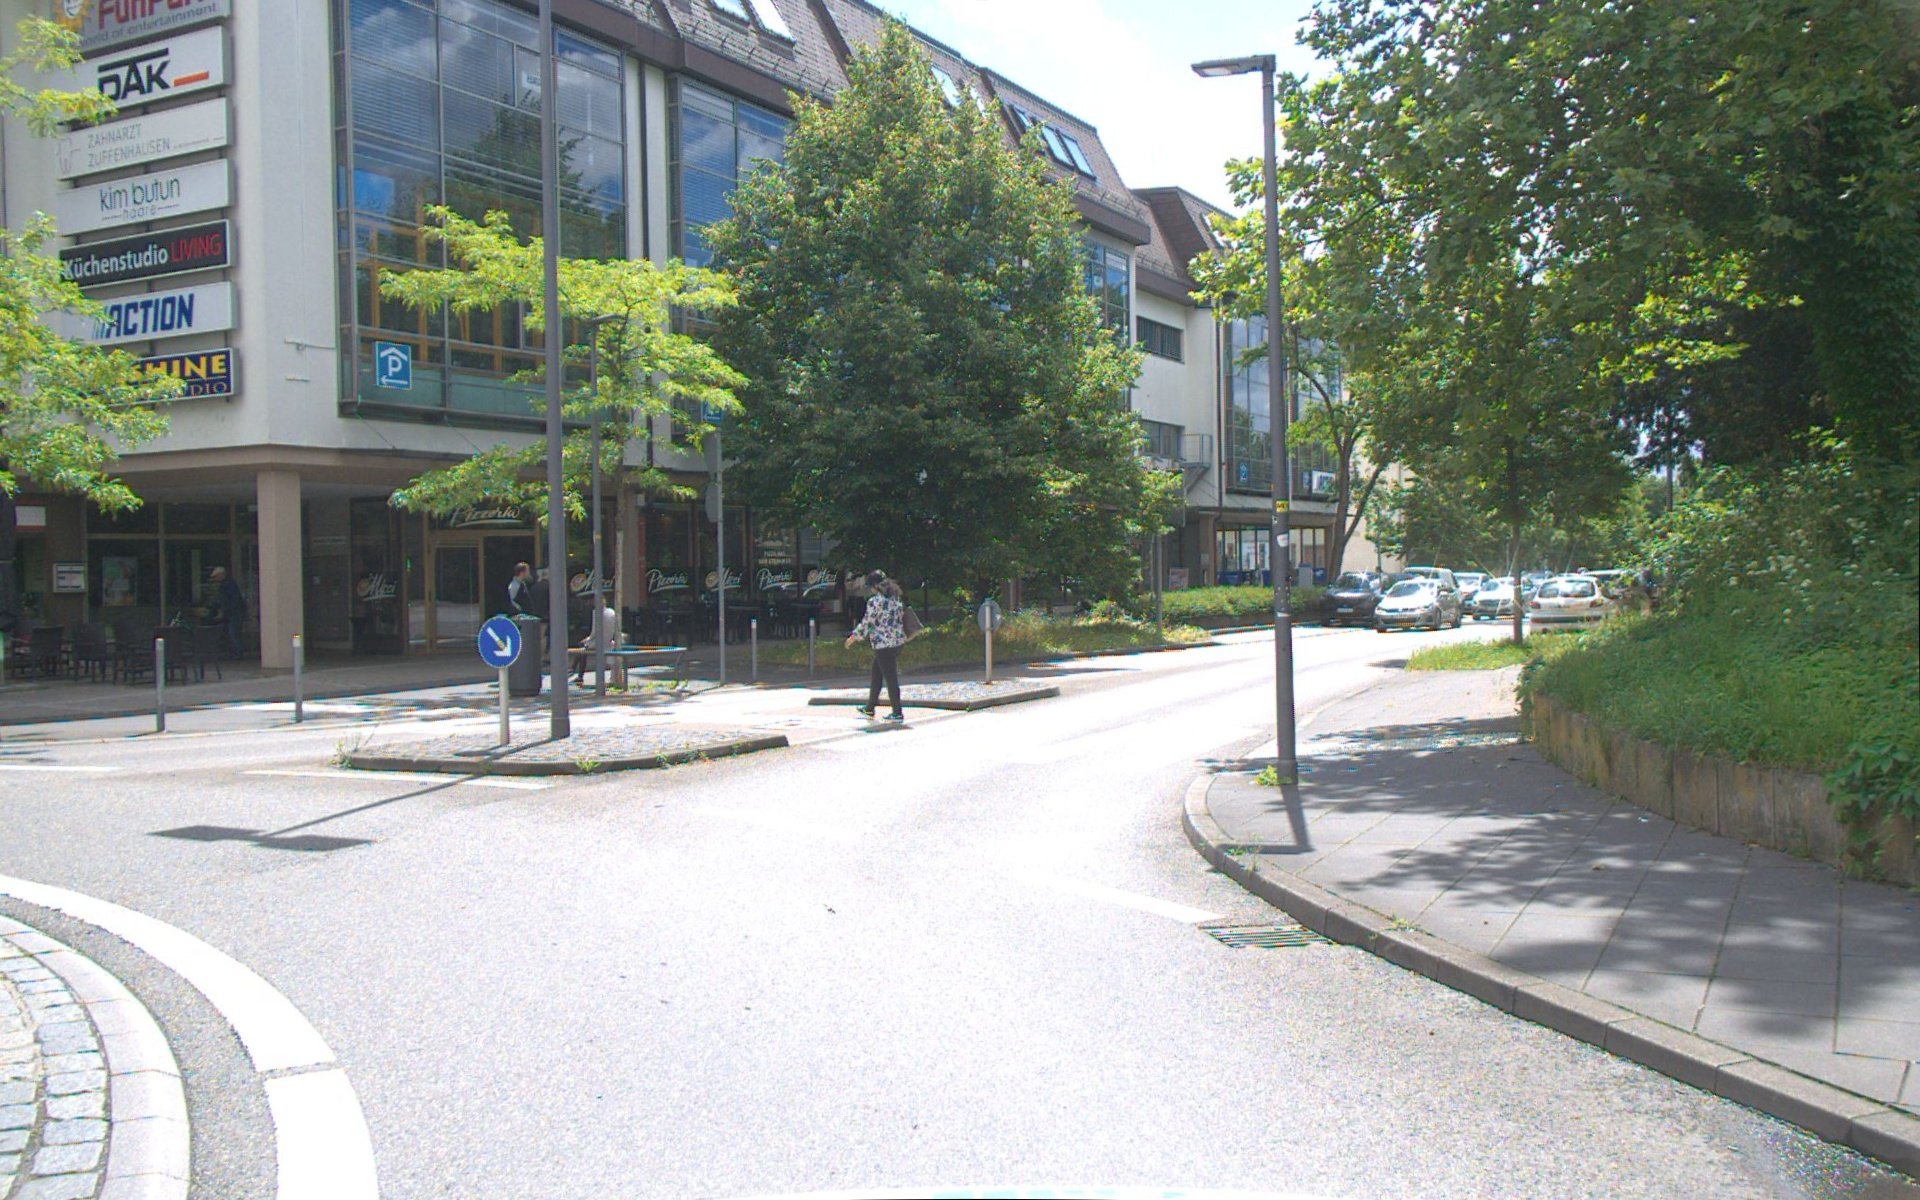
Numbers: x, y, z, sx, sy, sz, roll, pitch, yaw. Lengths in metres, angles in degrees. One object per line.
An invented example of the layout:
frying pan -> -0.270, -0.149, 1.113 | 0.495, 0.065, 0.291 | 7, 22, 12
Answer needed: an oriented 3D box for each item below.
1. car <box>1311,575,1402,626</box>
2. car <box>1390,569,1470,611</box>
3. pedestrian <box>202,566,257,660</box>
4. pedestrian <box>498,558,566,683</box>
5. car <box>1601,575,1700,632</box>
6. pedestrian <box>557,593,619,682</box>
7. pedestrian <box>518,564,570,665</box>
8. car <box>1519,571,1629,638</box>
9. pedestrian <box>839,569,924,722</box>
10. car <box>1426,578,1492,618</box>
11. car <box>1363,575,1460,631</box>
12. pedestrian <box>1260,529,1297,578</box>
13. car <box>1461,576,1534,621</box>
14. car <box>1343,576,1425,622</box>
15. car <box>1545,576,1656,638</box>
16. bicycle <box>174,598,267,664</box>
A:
car -> 12.713, -0.018, 52.780 | 1.954, 1.534, 4.582 | 1, 1, 25
car -> 17.894, -0.397, 62.821 | 1.956, 1.534, 4.577 | 1, 1, 29
pedestrian -> -13.467, 0.226, 30.501 | 0.603, 1.704, 0.697 | 0, 1, 27
pedestrian -> -6.541, 0.296, 25.270 | 0.683, 1.849, 0.616 | 1, 5, 32
car -> 19.725, 0.057, 47.185 | 1.895, 1.512, 3.988 | 1, 2, 34
pedestrian -> -5.575, 0.548, 24.790 | 0.685, 1.307, 0.614 | 1, 1, 39
pedestrian -> -7.092, 0.237, 28.200 | 0.602, 1.704, 0.698 | 0, 1, 14
car -> 14.034, 0.079, 37.668 | 1.718, 1.353, 3.994 | -3, -1, 29
pedestrian -> -0.843, 0.465, 17.539 | 0.751, 1.581, 0.776 | 0, 1, -16
car -> 20.447, -0.115, 67.639 | 1.954, 1.534, 4.582 | 1, 1, 25
car -> 13.097, 0.060, 47.759 | 1.954, 1.534, 4.582 | -1, 0, 25
pedestrian -> 13.636, -1.984, 70.772 | 1.318, 2.049, 1.087 | 0, -1, 26
car -> 19.496, -0.077, 59.876 | 1.954, 1.534, 4.581 | 0, 0, 26
car -> 14.679, -0.065, 57.133 | 1.954, 1.534, 4.582 | 1, 1, 25
car -> 16.691, 0.133, 43.000 | 1.895, 1.512, 3.988 | 1, 1, 34
bicycle -> -13.507, 0.554, 30.241 | 1.515, 1.188, 0.493 | 0, -1, -20
